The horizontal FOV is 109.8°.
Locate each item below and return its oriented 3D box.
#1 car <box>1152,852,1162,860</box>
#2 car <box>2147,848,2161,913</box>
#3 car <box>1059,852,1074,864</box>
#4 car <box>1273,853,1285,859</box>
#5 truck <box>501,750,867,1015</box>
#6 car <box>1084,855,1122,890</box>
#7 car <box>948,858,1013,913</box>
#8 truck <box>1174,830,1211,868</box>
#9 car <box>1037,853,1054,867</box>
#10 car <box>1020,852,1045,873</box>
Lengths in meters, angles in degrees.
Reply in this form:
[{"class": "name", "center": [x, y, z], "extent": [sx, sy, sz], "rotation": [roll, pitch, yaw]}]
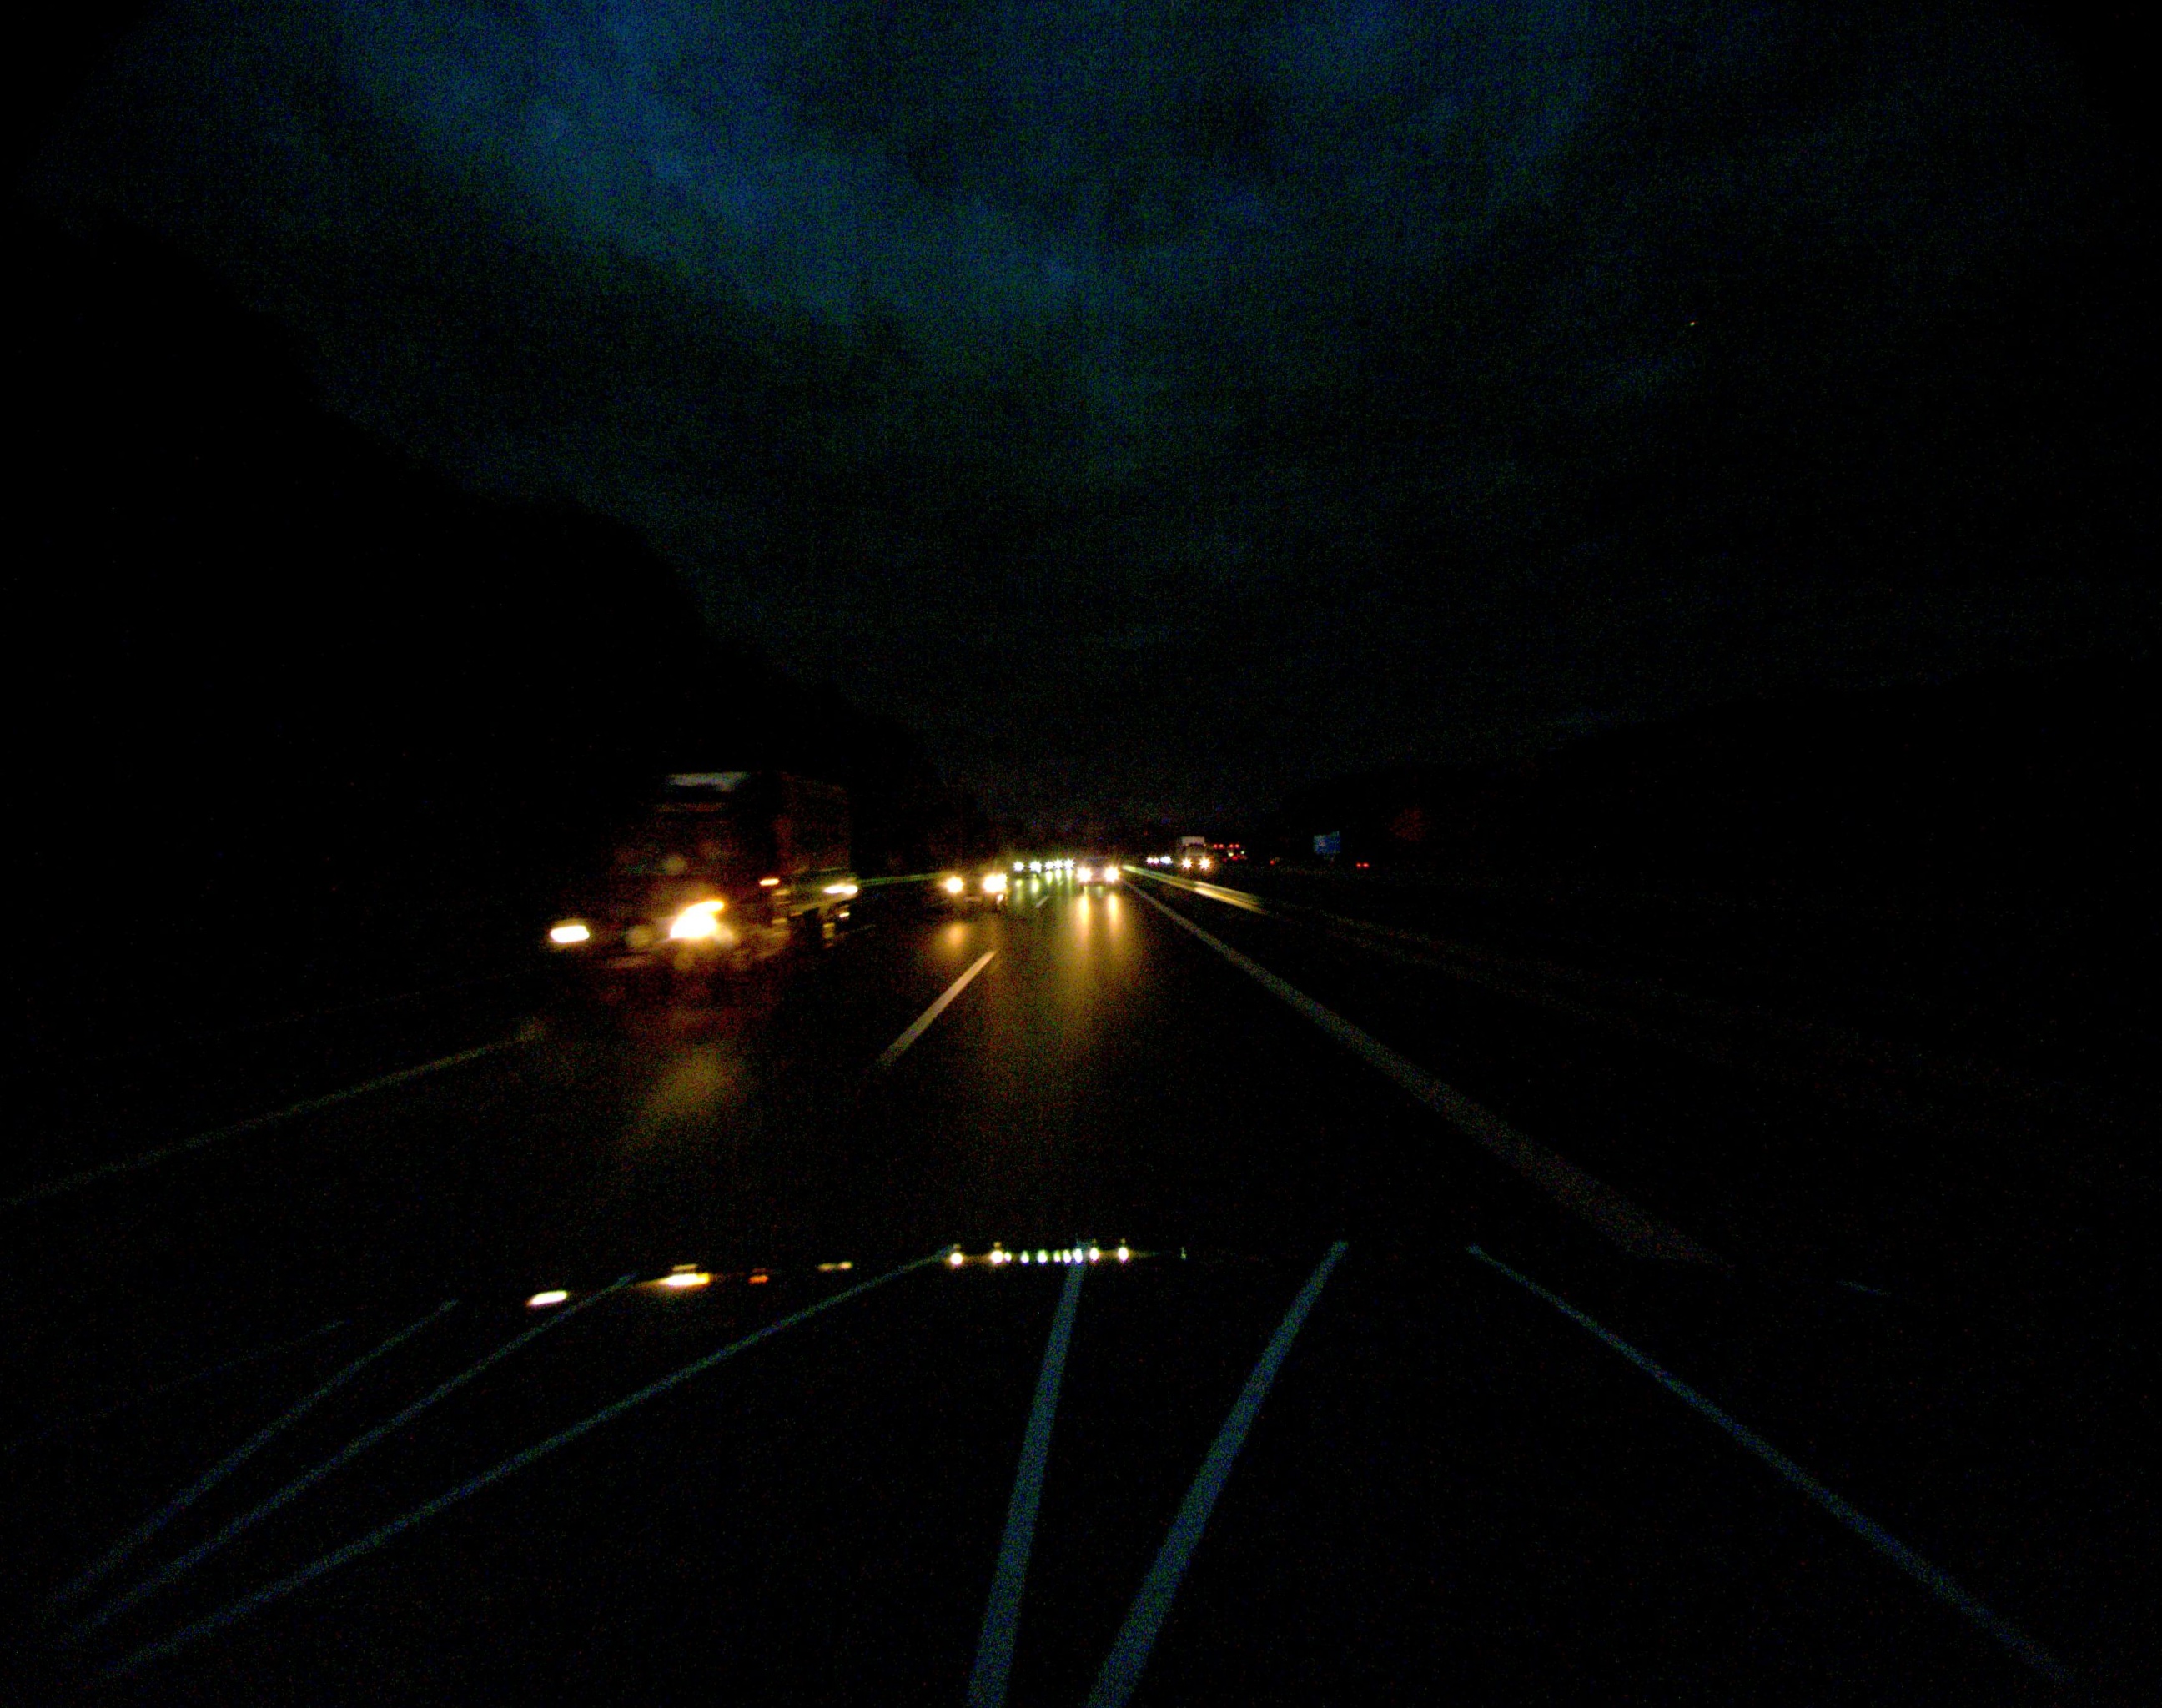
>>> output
[{"class": "car", "center": [17.335, 0.438, 174.211], "extent": [1.833, 1.674, 4.228], "rotation": [-2, 0, 1]}, {"class": "car", "center": [34.494, 0.835, 21.459], "extent": [1.999, 2.002, 4.731], "rotation": [0, 1, -3]}, {"class": "car", "center": [-1.978, 0.533, 103.035], "extent": [1.803, 1.483, 4.434], "rotation": [-3, 0, -2]}, {"class": "car", "center": [48.218, 0.442, 185.309], "extent": [1.841, 1.434, 4.467], "rotation": [0, 0, 1]}, {"class": "truck", "center": [-5.483, 0.327, 12.050], "extent": [2.274, 2.954, 6.630], "rotation": [-2, 0, -1]}, {"class": "car", "center": [1.016, 0.834, 36.058], "extent": [1.669, 1.551, 3.756], "rotation": [0, 0, 1]}, {"class": "car", "center": [-3.070, 0.926, 23.735], "extent": [1.615, 1.547, 3.318], "rotation": [0, 1, -1]}, {"class": "truck", "center": [13.185, -0.614, 90.454], "extent": [3.046, 4.276, 9.890], "rotation": [0, 1, 0]}, {"class": "car", "center": [-4.020, 0.660, 86.327], "extent": [1.803, 1.483, 5.116], "rotation": [-3, 0, -2]}, {"class": "car", "center": [-4.092, 0.668, 64.690], "extent": [1.802, 1.636, 5.160], "rotation": [1, 0, 0]}]
